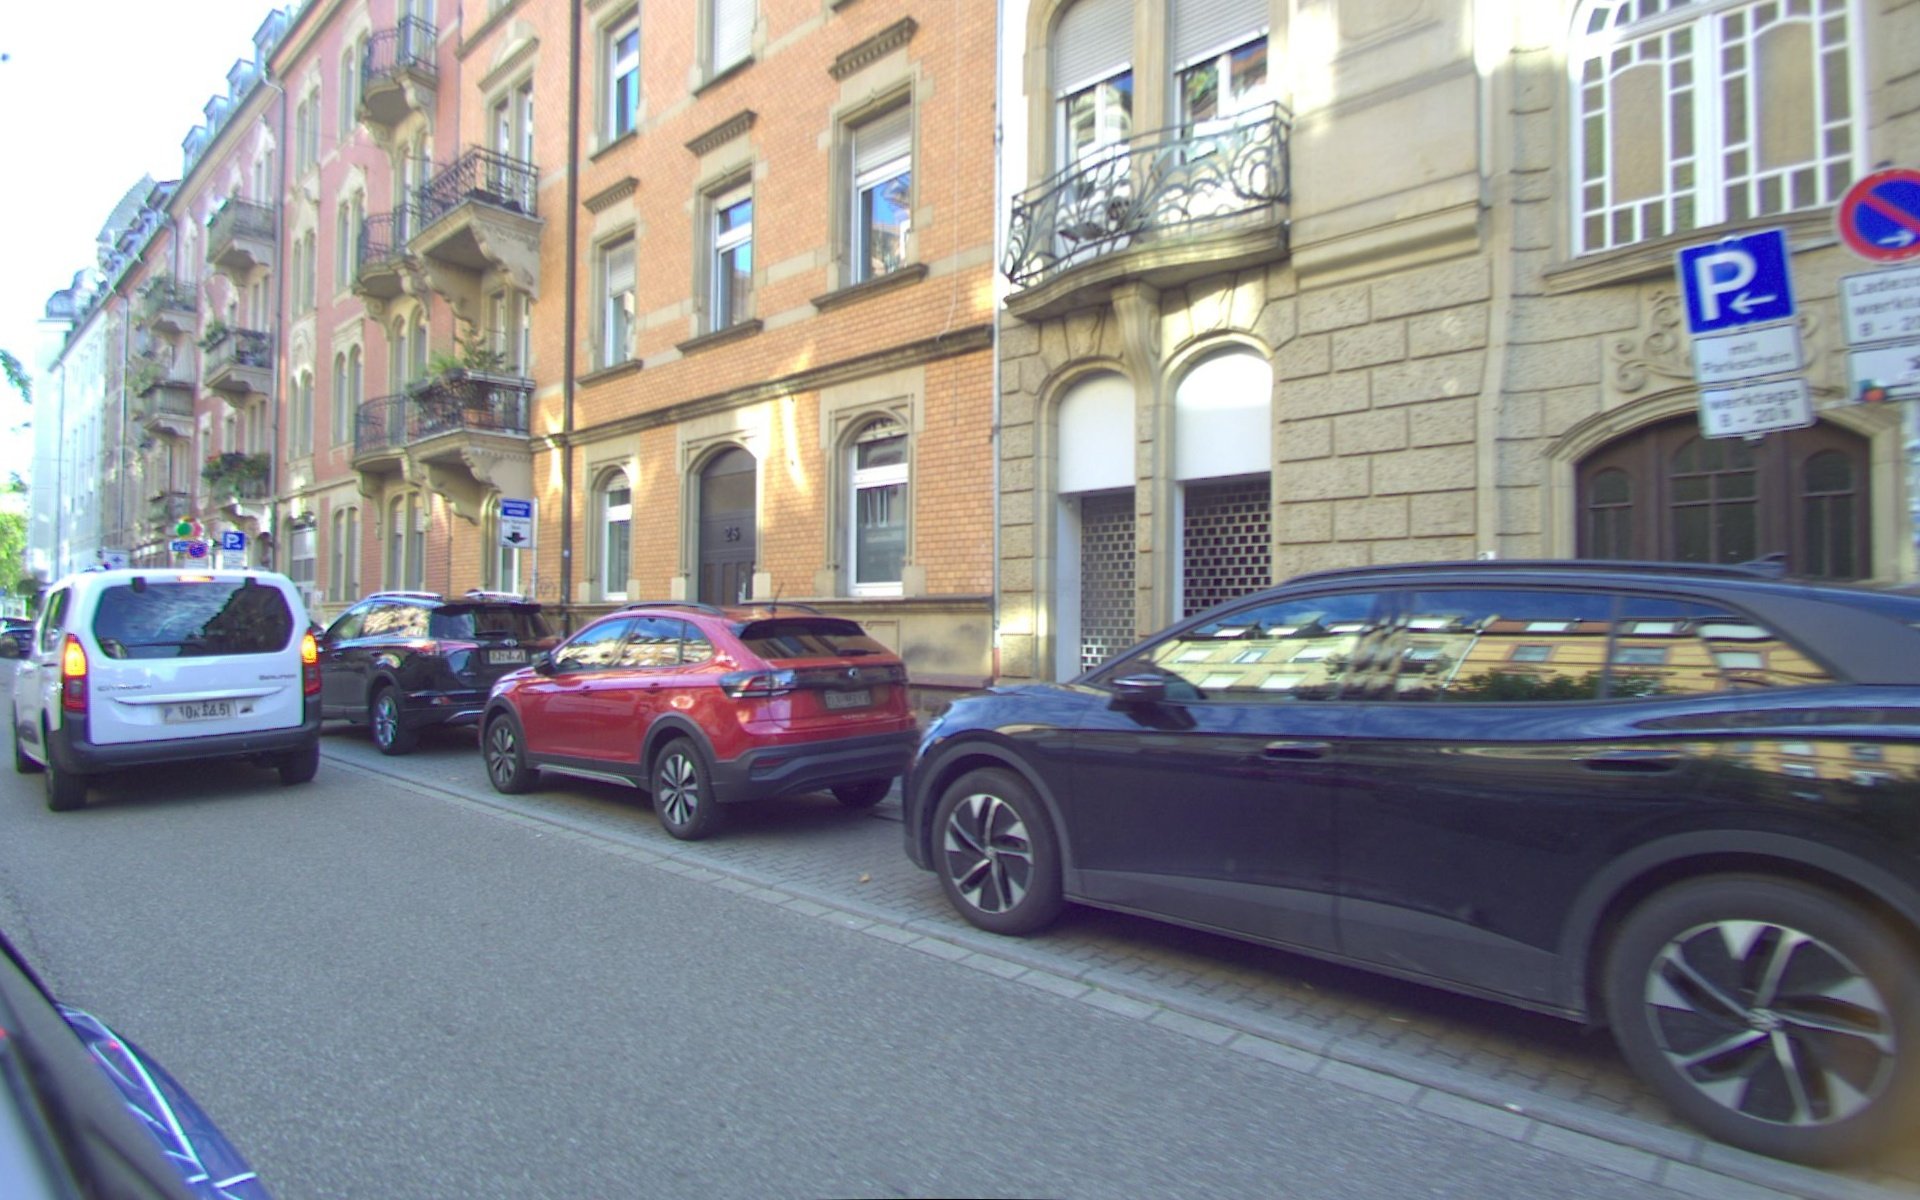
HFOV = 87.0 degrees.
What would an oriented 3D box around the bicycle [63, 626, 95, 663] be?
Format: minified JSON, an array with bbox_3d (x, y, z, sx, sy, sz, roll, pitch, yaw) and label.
[{"bbox_3d":[-27.501,1.365,31.617,0.570,1.098,1.742,0,-1,-35],"label":"bicycle"}]

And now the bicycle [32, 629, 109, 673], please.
[{"bbox_3d":[-26.099,1.475,29.737,0.584,1.209,1.787,-1,-1,6],"label":"bicycle"}]

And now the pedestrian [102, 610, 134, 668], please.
[{"bbox_3d":[-28.105,1.293,33.776,0.637,1.906,0.603,0,-1,-18],"label":"pedestrian"}]

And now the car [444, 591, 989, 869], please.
[{"bbox_3d":[-2.093,0.778,7.909,4.425,1.556,1.972,-1,-2,42],"label":"car"}]

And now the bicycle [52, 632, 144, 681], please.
[{"bbox_3d":[-22.226,1.428,26.165,0.795,1.167,2.275,-1,-1,-11],"label":"bicycle"}]

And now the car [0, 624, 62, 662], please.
[{"bbox_3d":[-35.944,1.613,38.701,5.113,1.361,1.793,-1,-1,42],"label":"car"}]

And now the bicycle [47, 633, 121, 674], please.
[{"bbox_3d":[-25.512,1.535,29.510,0.548,1.129,1.735,-1,-1,6],"label":"bicycle"}]

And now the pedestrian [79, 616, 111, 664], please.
[{"bbox_3d":[-33.602,1.554,39.329,0.750,1.832,0.668,0,-1,-18],"label":"pedestrian"}]

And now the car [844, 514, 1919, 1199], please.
[{"bbox_3d":[1.805,0.655,4.064,4.847,1.641,1.771,-1,-2,43],"label":"car"}]

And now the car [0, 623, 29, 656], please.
[{"bbox_3d":[-43.227,1.744,45.350,4.008,1.426,1.653,-1,-1,39],"label":"car"}]

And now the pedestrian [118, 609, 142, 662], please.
[{"bbox_3d":[-27.973,1.200,34.110,0.596,1.765,0.727,0,-1,-37],"label":"pedestrian"}]

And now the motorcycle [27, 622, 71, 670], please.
[{"bbox_3d":[-28.115,1.399,31.261,0.697,1.395,2.029,0,-1,-33],"label":"motorcycle"}]

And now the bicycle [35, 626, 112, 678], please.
[{"bbox_3d":[-23.995,1.379,27.424,0.521,1.332,1.674,-1,-1,6],"label":"bicycle"}]

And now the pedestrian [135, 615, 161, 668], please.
[{"bbox_3d":[-25.164,1.276,31.380,0.584,1.629,0.547,-1,-1,42],"label":"pedestrian"}]

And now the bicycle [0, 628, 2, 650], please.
[{"bbox_3d":[-52.527,2.099,54.149,0.688,1.184,1.847,-1,-1,44],"label":"bicycle"}]

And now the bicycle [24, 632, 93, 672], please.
[{"bbox_3d":[-26.696,1.522,29.992,0.583,1.129,1.568,-1,-1,6],"label":"bicycle"}]

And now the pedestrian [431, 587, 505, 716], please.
[{"bbox_3d":[-7.245,0.740,14.899,0.747,1.822,0.864,0,-1,-44],"label":"pedestrian"}]

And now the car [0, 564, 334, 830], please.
[{"bbox_3d":[-7.436,0.710,9.247,4.439,1.842,1.896,-1,-1,44],"label":"car"}]

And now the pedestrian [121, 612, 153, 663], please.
[{"bbox_3d":[-28.722,1.302,35.327,0.678,1.773,0.668,0,-1,-18],"label":"pedestrian"}]

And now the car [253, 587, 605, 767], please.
[{"bbox_3d":[-6.329,0.791,11.779,4.888,1.694,1.854,-2,-2,39],"label":"car"}]
